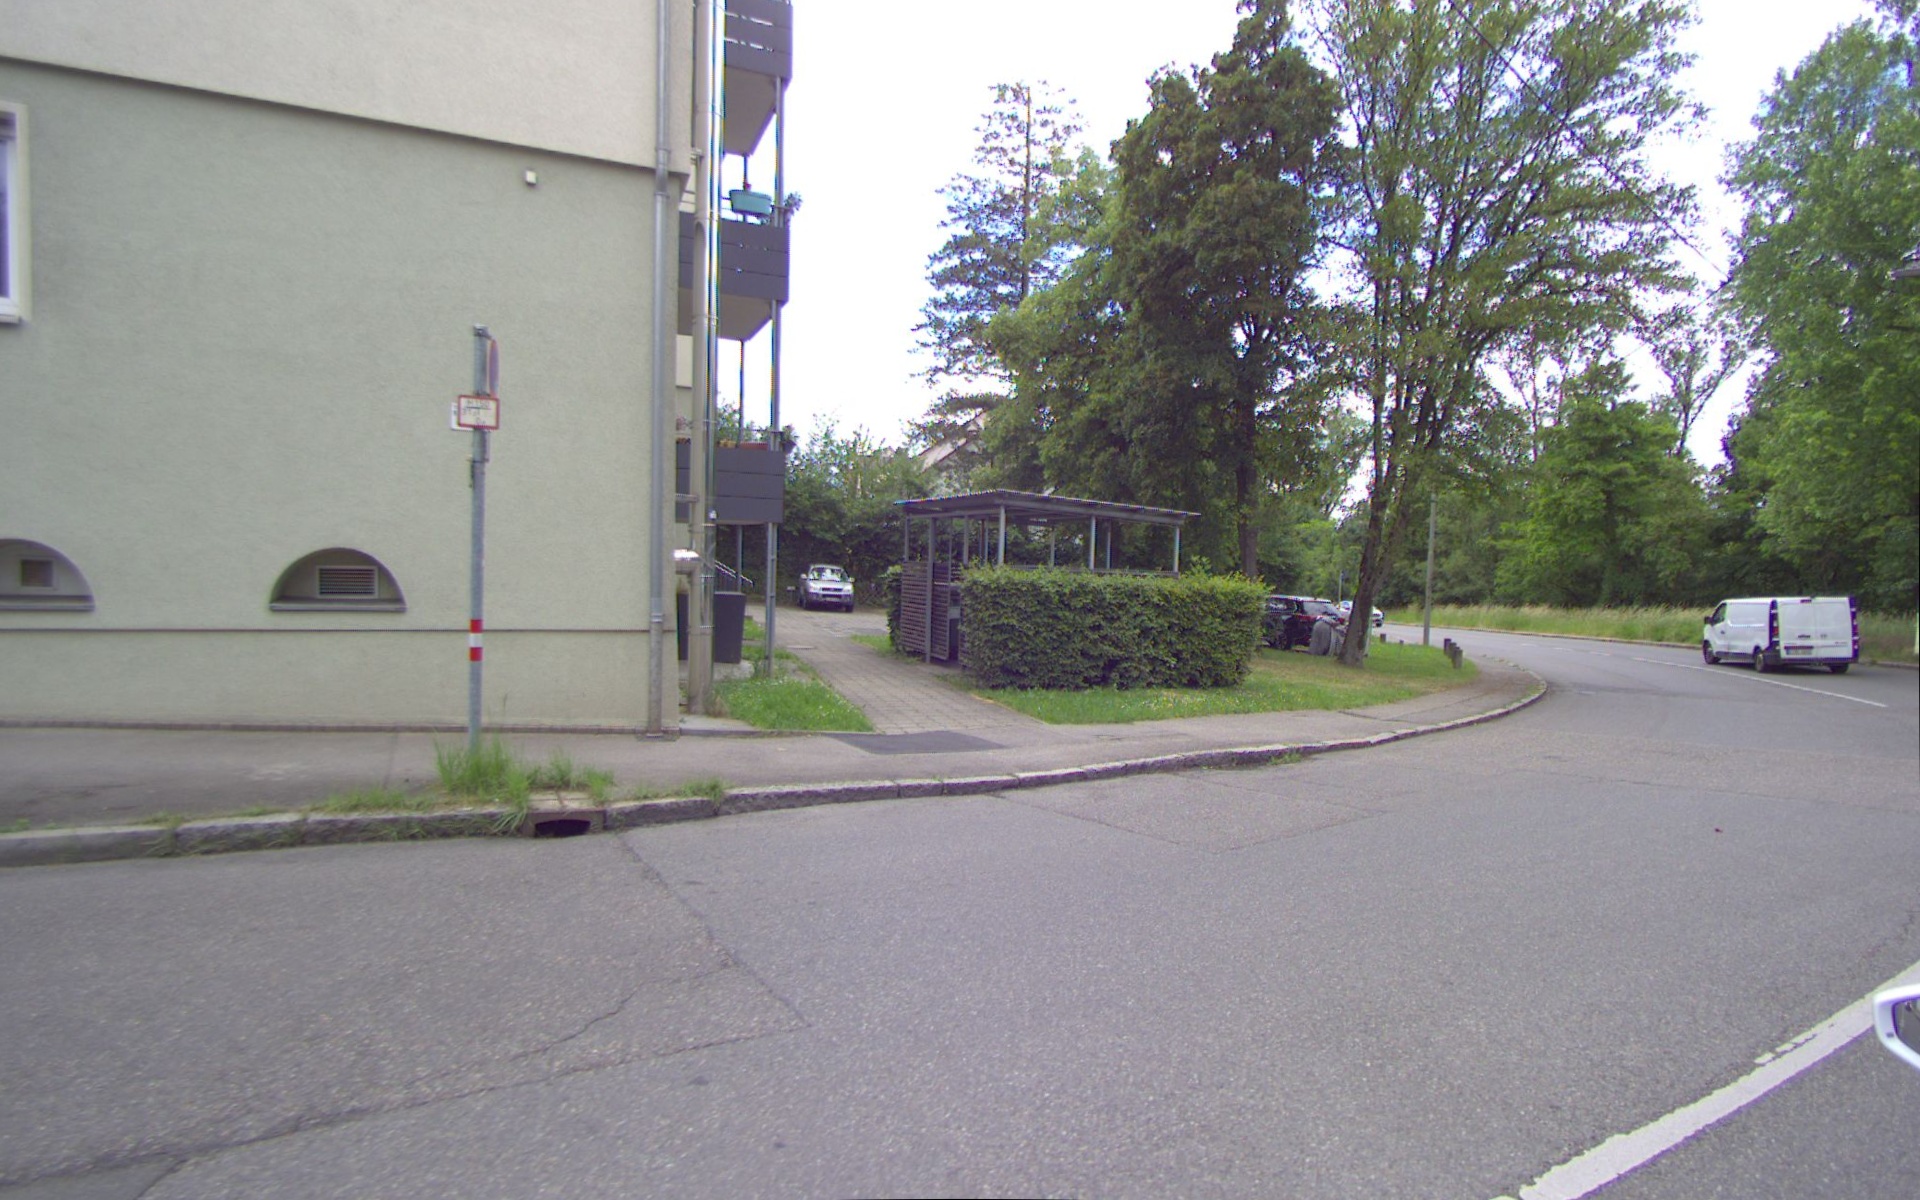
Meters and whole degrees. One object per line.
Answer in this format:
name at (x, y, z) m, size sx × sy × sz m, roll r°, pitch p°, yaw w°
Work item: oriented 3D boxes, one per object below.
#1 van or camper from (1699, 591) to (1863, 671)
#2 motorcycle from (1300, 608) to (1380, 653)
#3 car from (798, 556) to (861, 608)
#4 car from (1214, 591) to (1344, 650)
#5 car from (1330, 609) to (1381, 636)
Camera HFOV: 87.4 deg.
van or camper at (22.252, 0.801, 27.492) m, size 1.986 × 1.983 × 4.895 m, roll 0°, pitch 0°, yaw 20°
motorcycle at (10.933, 0.887, 28.911) m, size 2.033 × 1.167 × 0.862 m, roll 3°, pitch 0°, yaw -17°
car at (-4.984, -0.719, 37.900) m, size 1.718 × 1.753 × 4.612 m, roll 3°, pitch 1°, yaw -14°
car at (9.937, 0.587, 31.650) m, size 1.719 × 1.615 × 4.317 m, roll 3°, pitch 0°, yaw -17°
car at (23.492, 1.333, 59.788) m, size 1.695 × 1.476 × 4.081 m, roll -1°, pitch -1°, yaw 5°
